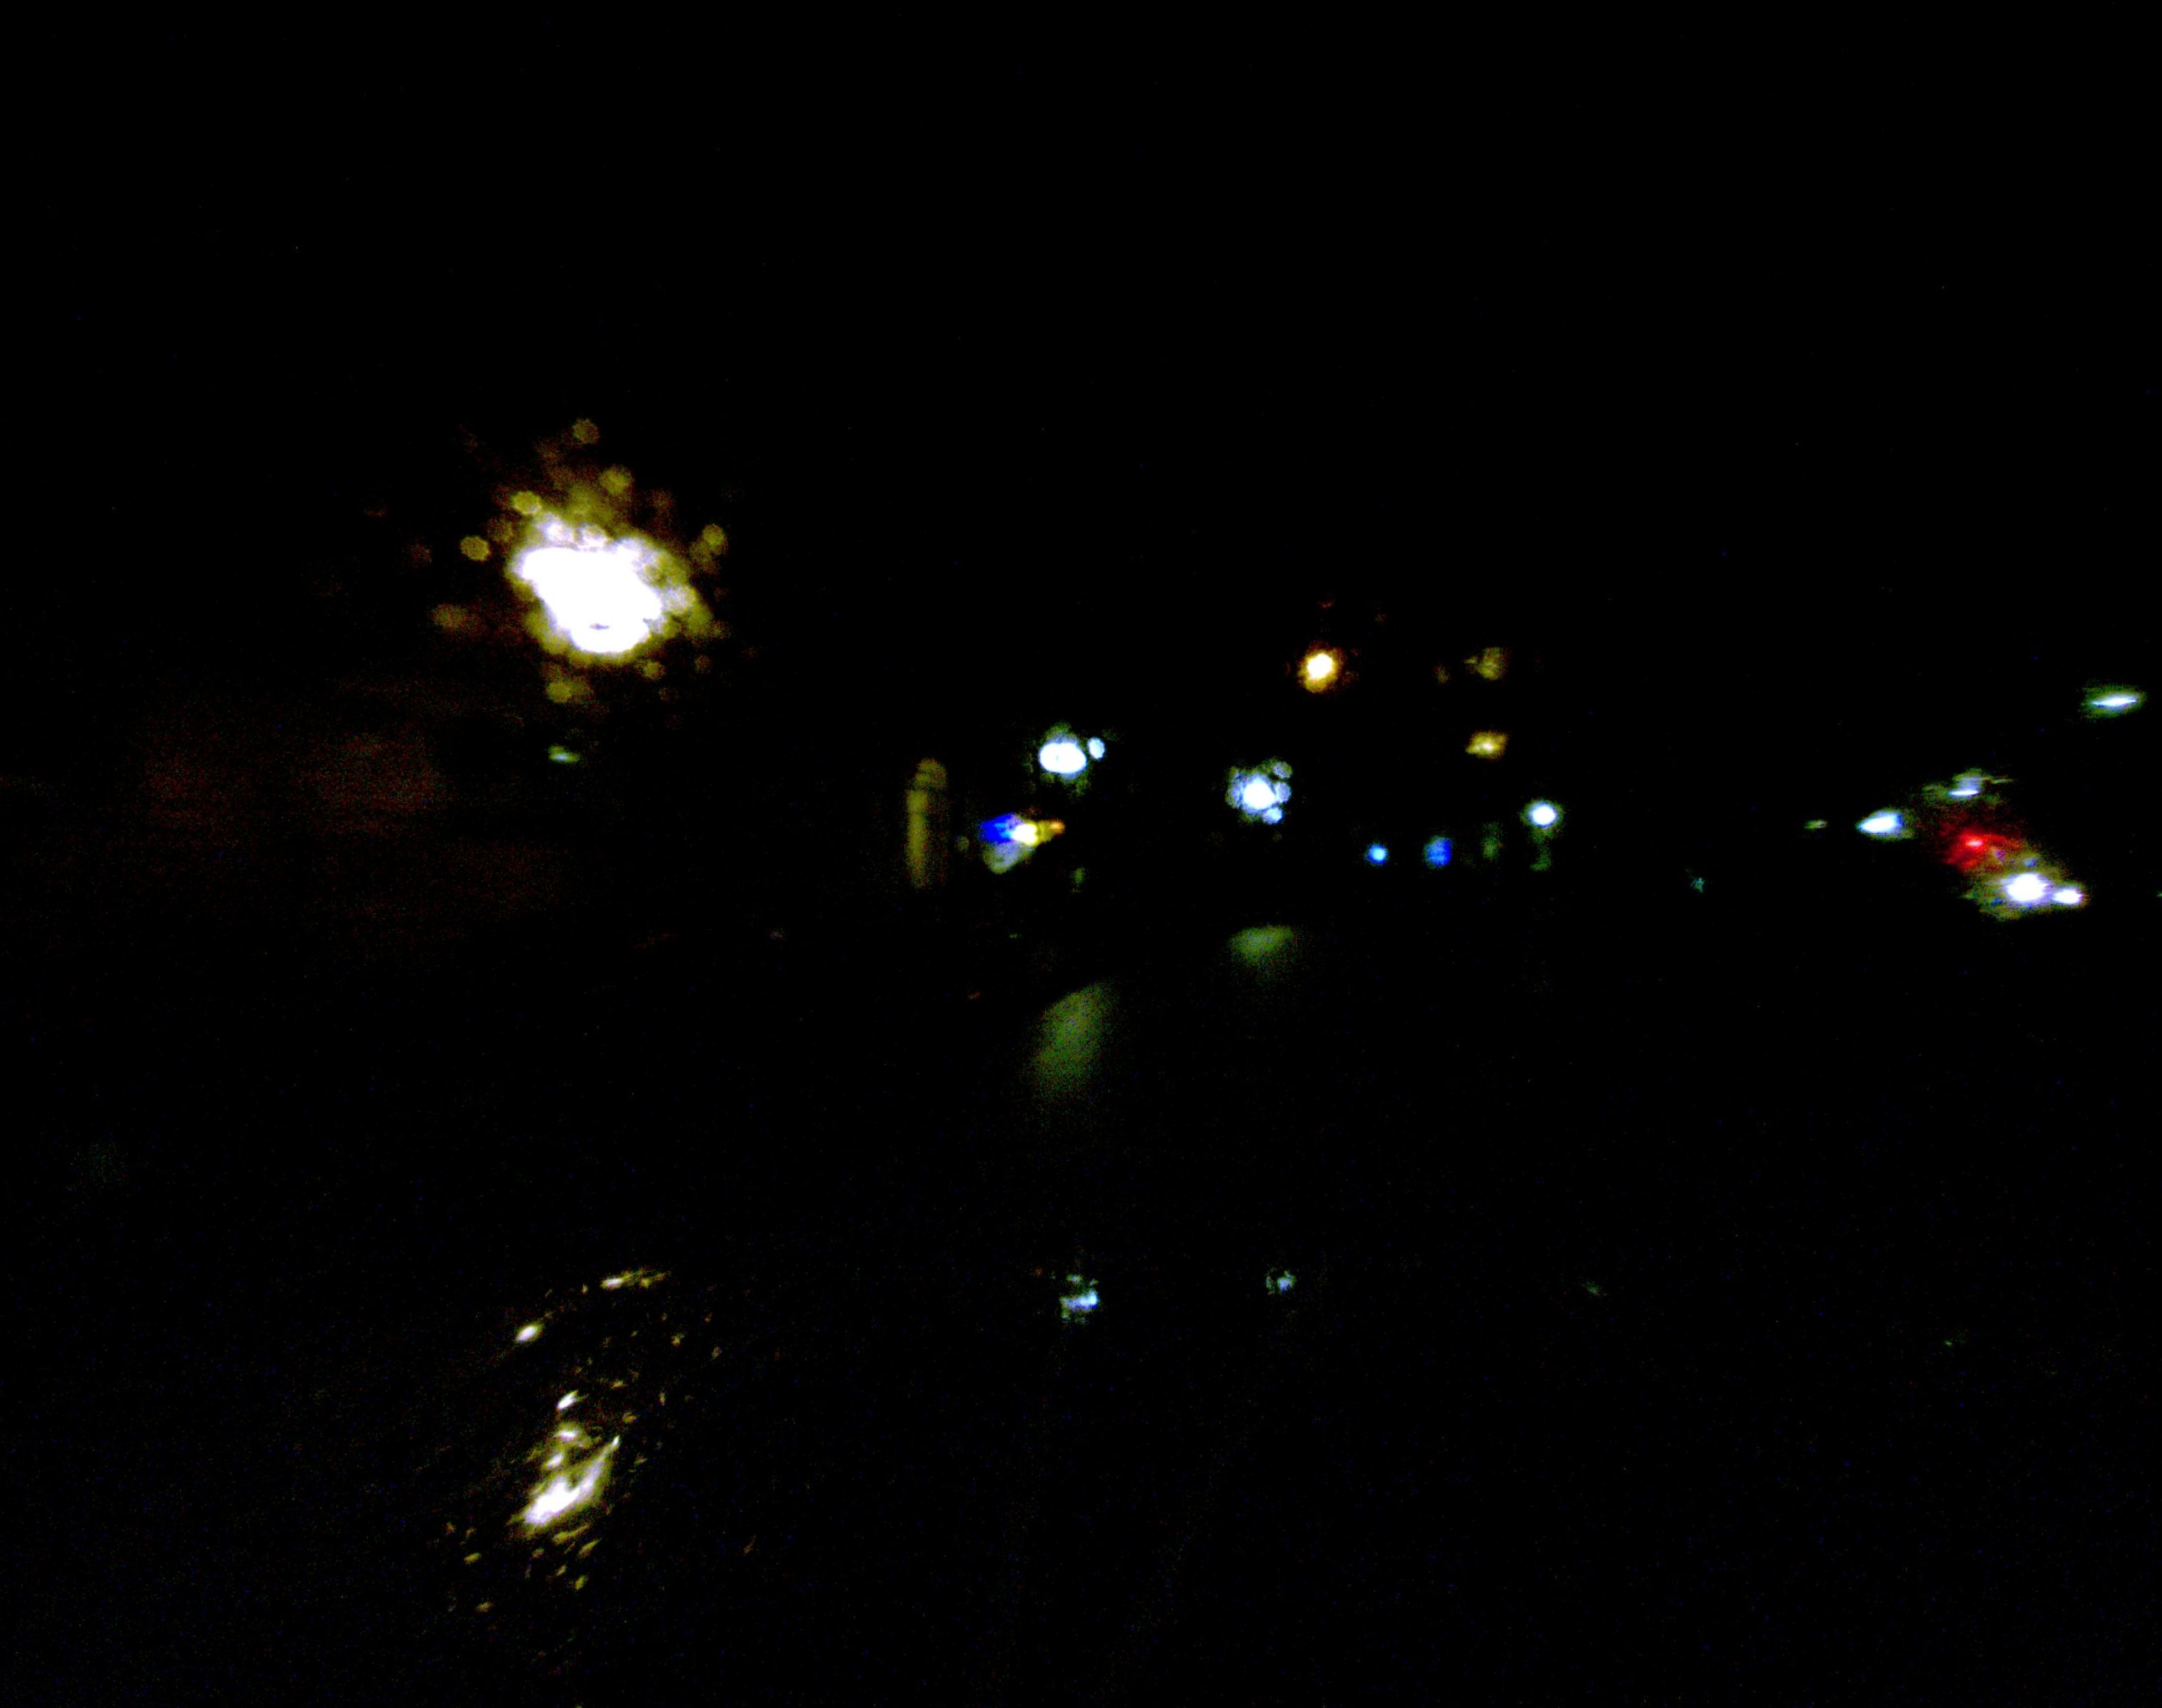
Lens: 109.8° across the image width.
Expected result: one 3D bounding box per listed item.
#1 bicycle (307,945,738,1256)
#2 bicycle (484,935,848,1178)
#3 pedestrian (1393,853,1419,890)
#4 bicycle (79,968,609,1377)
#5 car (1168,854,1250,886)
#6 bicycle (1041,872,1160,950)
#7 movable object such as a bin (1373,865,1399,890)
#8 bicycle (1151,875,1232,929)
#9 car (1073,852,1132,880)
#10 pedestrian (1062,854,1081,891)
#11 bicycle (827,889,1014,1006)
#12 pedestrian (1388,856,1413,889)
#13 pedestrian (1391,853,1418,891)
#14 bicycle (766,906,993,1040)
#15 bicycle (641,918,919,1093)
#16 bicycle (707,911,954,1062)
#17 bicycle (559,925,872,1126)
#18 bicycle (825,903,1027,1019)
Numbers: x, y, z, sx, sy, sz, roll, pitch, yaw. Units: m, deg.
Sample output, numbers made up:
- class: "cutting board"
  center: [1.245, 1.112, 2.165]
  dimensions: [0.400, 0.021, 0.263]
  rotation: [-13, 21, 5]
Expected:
- class: "bicycle"
  center: [-2.641, 1.035, 3.581]
  dimensions: [1.970, 1.028, 0.643]
  rotation: [1, 1, 20]
- class: "bicycle"
  center: [-2.341, 1.036, 4.268]
  dimensions: [1.970, 1.001, 0.643]
  rotation: [1, 1, 20]
- class: "pedestrian"
  center: [14.623, 0.779, 34.208]
  dimensions: [0.635, 1.628, 0.841]
  rotation: [-2, 0, -45]
- class: "bicycle"
  center: [-2.821, 1.047, 2.898]
  dimensions: [1.970, 1.001, 0.643]
  rotation: [1, 1, 20]
- class: "car"
  center: [6.940, 0.832, 41.617]
  dimensions: [1.892, 1.584, 4.485]
  rotation: [-2, 1, -33]
- class: "bicycle"
  center: [0.328, 0.936, 12.968]
  dimensions: [1.870, 1.210, 0.731]
  rotation: [1, 1, 20]
- class: "movable object such as a bin"
  center: [13.990, 1.065, 34.866]
  dimensions: [0.635, 1.109, 0.920]
  rotation: [-2, 0, -45]
- class: "bicycle"
  center: [2.367, 1.011, 16.220]
  dimensions: [1.621, 1.076, 0.565]
  rotation: [0, 3, 19]
- class: "car"
  center: [1.349, 0.773, 50.559]
  dimensions: [1.884, 1.694, 4.276]
  rotation: [-2, 1, -31]
- class: "pedestrian"
  center: [-0.465, 0.920, 37.609]
  dimensions: [0.688, 1.752, 1.044]
  rotation: [-1, -1, 13]
- class: "bicycle"
  center: [-1.792, 0.989, 8.477]
  dimensions: [1.928, 1.108, 0.731]
  rotation: [1, 1, 20]
- class: "pedestrian"
  center: [14.853, 0.850, 35.317]
  dimensions: [0.635, 1.484, 0.766]
  rotation: [-2, 0, -31]
- class: "pedestrian"
  center: [14.272, 0.786, 33.562]
  dimensions: [0.872, 1.628, 0.635]
  rotation: [-2, 0, 44]
- class: "bicycle"
  center: [-1.863, 1.039, 7.018]
  dimensions: [1.970, 1.001, 0.689]
  rotation: [1, 1, 20]
- class: "bicycle"
  center: [-2.227, 1.046, 5.604]
  dimensions: [1.970, 1.001, 0.643]
  rotation: [1, 1, 20]
- class: "bicycle"
  center: [-2.098, 1.044, 6.341]
  dimensions: [1.970, 1.001, 0.643]
  rotation: [1, 1, 20]
- class: "bicycle"
  center: [-2.400, 1.040, 4.974]
  dimensions: [1.970, 1.001, 0.643]
  rotation: [1, 1, 20]
- class: "bicycle"
  center: [-1.602, 1.052, 7.840]
  dimensions: [1.928, 0.982, 0.731]
  rotation: [1, 1, 20]
